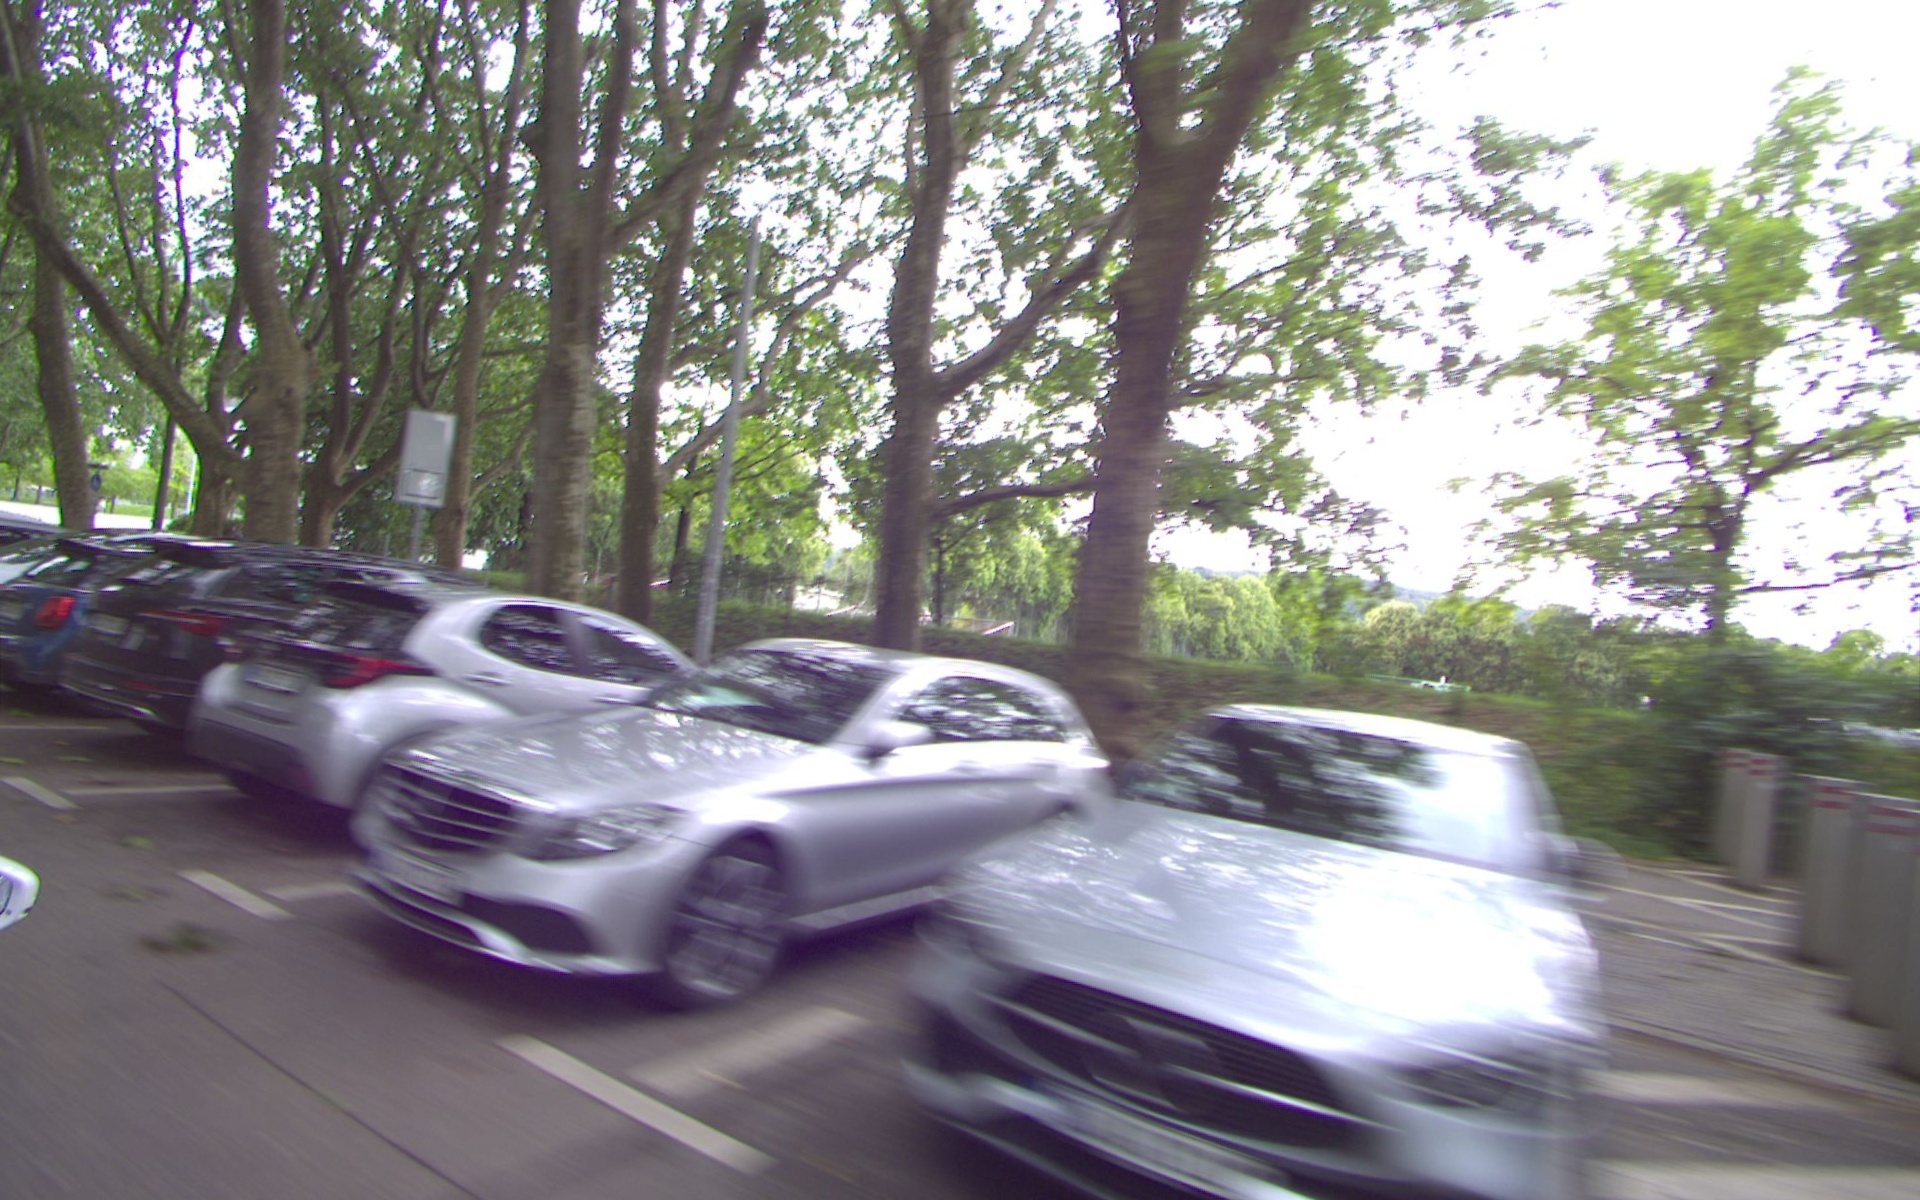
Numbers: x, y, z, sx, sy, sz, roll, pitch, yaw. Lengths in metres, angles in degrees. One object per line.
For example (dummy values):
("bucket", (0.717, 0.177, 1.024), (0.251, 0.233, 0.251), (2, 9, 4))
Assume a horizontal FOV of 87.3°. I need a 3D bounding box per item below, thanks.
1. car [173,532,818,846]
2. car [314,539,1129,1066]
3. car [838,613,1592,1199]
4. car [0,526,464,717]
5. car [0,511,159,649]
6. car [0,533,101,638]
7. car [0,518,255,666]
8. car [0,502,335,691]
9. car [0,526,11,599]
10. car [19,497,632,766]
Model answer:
("car", (-2.841, 0.631, 7.063), (1.596, 1.486, 3.788), (6, -4, 28))
("car", (-0.632, 0.824, 5.297), (1.596, 1.486, 4.311), (6, -4, 28))
("car", (1.607, 1.116, 4.334), (1.622, 1.486, 4.627), (6, -4, 31))
("car", (-6.990, 0.303, 9.704), (1.493, 1.386, 3.657), (6, -4, 28))
("car", (-13.325, -0.403, 13.449), (1.493, 1.685, 3.657), (6, -3, 28))
("car", (-14.972, -0.398, 14.401), (1.493, 1.425, 3.657), (6, -4, 28))
("car", (-11.285, -0.139, 12.514), (1.615, 1.535, 3.657), (6, -4, 28))
("car", (-9.179, -0.064, 10.364), (1.823, 1.613, 4.180), (6, -4, 28))
("car", (-17.755, -0.803, 15.771), (1.951, 1.439, 3.657), (6, -4, 28))
("car", (-4.891, 0.366, 8.364), (1.789, 1.614, 3.788), (6, -4, 28))
